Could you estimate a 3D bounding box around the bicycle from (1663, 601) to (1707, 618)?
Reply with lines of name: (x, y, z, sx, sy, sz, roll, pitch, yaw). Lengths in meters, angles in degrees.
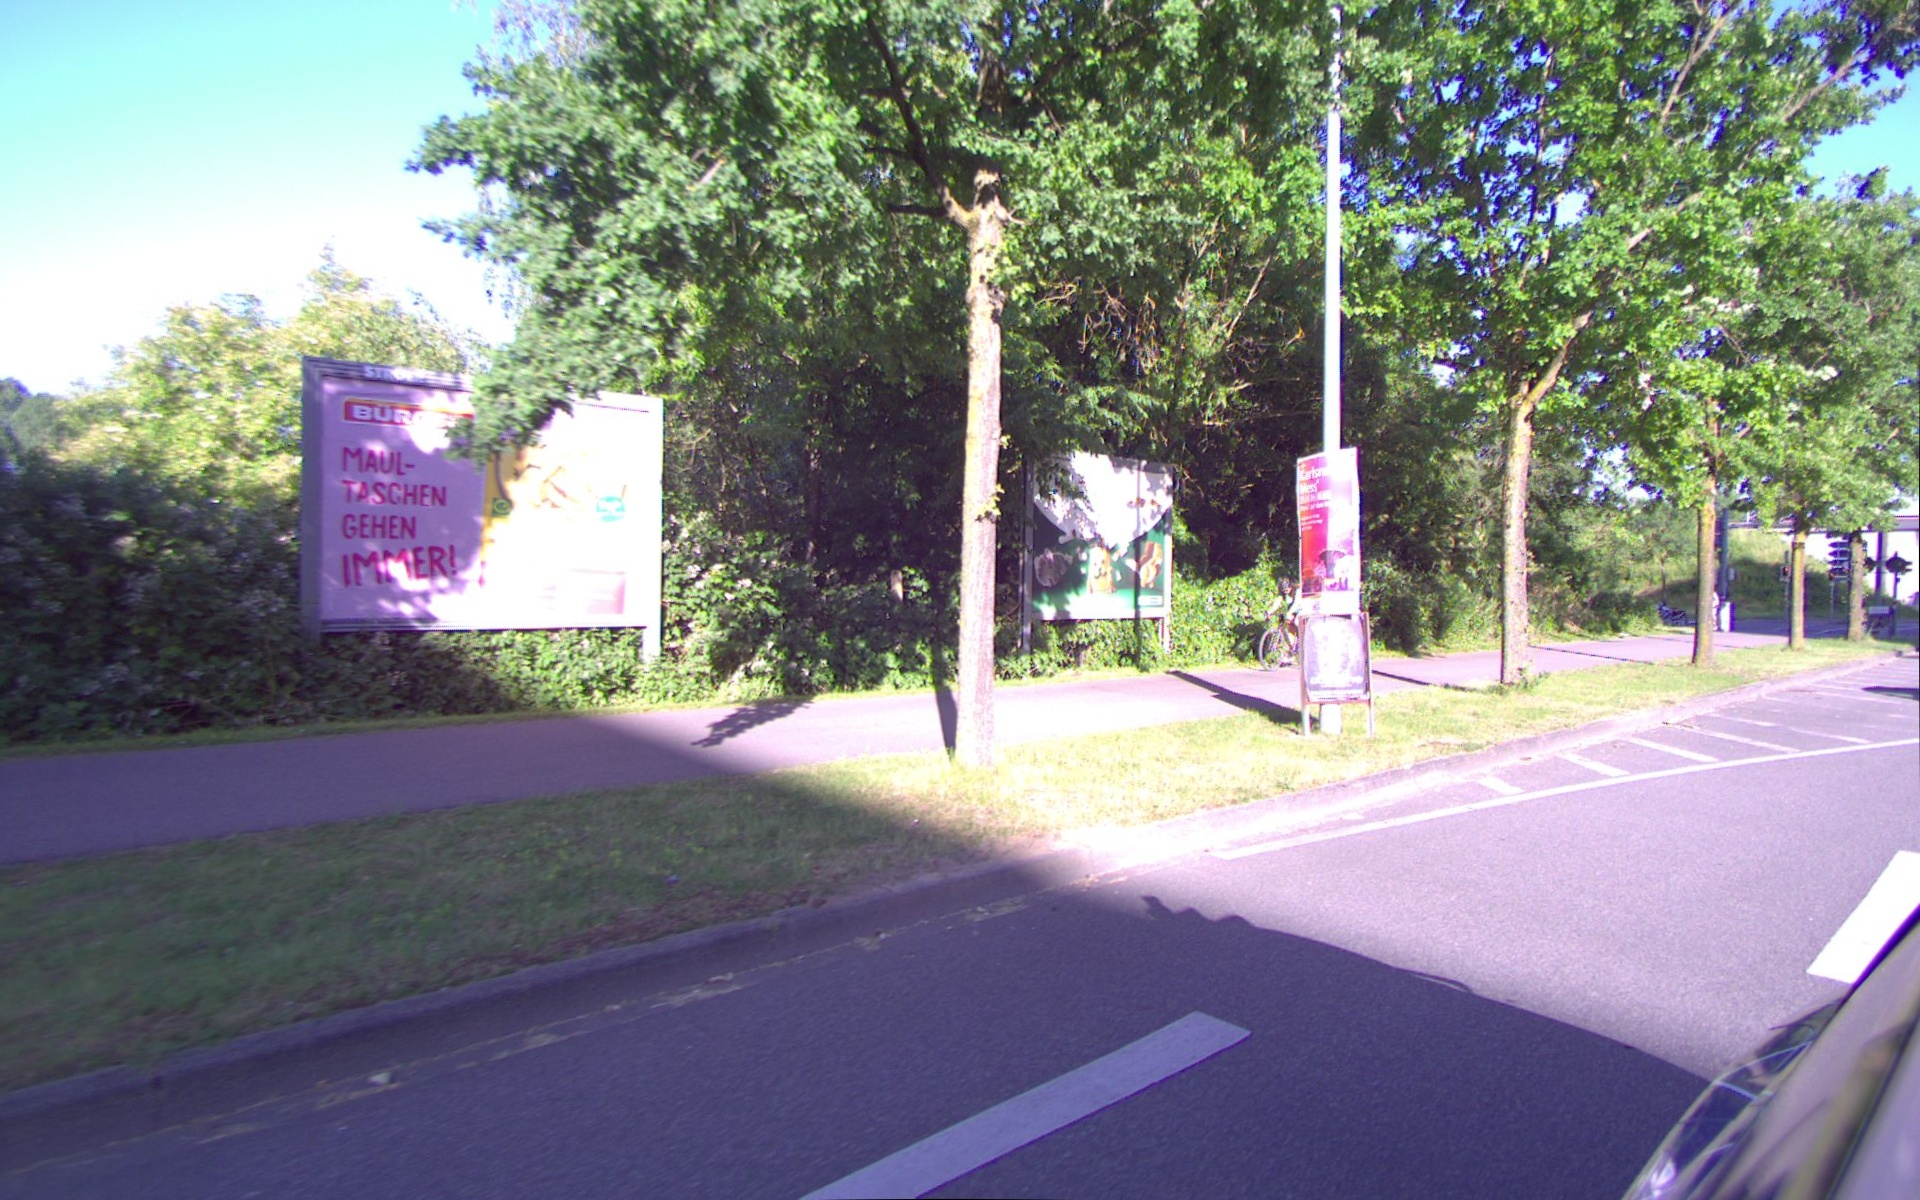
bicycle: (32.544, 0.419, 45.437, 0.830, 0.629, 2.186, 3, 2, 14)

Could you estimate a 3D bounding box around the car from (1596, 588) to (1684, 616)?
car: (40.418, 0.091, 60.240, 1.782, 1.493, 4.000, -2, 3, -35)

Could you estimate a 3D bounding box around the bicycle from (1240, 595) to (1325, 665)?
bicycle: (5.404, 0.478, 16.886, 1.904, 1.086, 0.516, -1, 2, -45)

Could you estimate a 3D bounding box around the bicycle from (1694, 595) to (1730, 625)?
bicycle: (25.494, 0.330, 34.284, 2.011, 1.004, 0.572, 0, 1, -42)

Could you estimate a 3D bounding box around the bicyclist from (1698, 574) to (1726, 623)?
bicyclist: (25.356, -0.045, 34.128, 0.850, 1.630, 0.566, 0, 1, -42)

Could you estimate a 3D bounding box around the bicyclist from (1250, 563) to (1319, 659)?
bicyclist: (5.412, 0.169, 16.851, 1.019, 1.541, 0.685, 0, 1, -44)

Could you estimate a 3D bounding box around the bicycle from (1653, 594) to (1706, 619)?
bicycle: (33.680, 0.292, 47.406, 0.445, 1.066, 1.999, 0, 1, -28)
